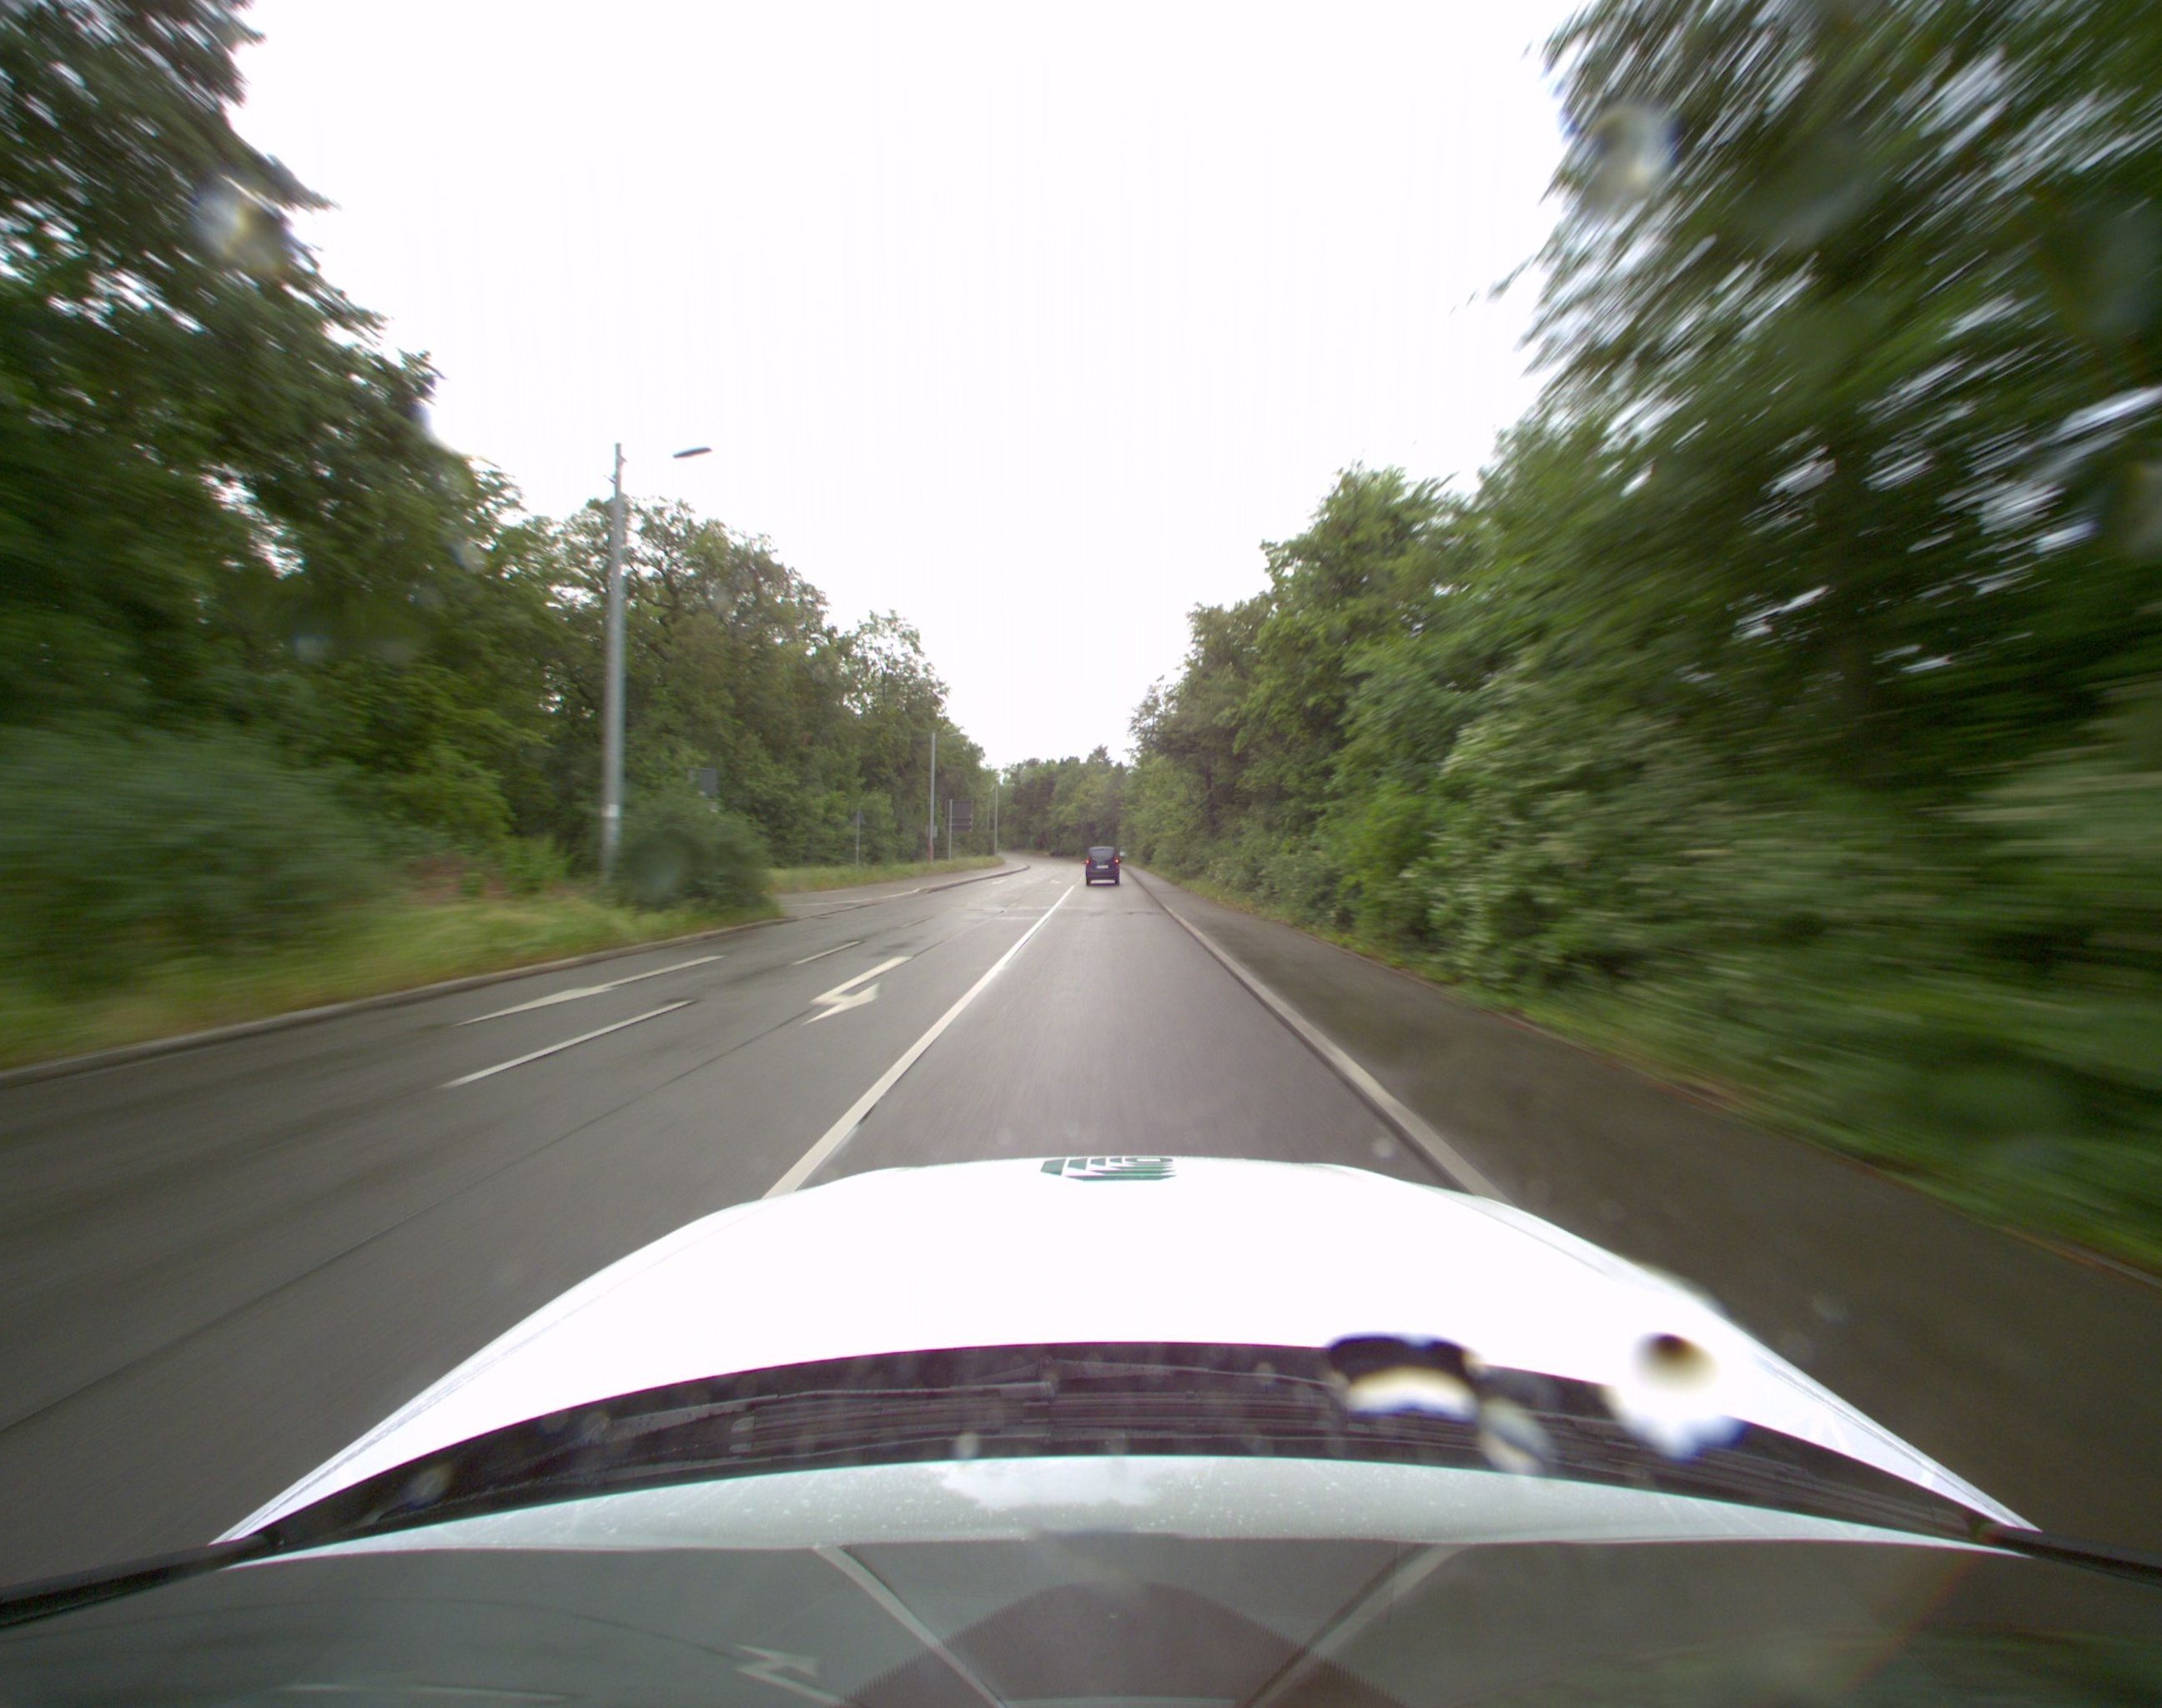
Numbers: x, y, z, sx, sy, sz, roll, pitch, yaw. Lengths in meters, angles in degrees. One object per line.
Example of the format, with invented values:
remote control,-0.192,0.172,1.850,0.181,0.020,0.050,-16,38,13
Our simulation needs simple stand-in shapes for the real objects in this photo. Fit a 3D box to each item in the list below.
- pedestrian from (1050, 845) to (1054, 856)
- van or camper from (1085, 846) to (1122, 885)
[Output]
pedestrian,-4.902,-0.561,138.854,0.490,1.870,0.677,0,0,-11
van or camper,1.087,0.540,40.388,1.706,1.826,4.001,-1,0,1
